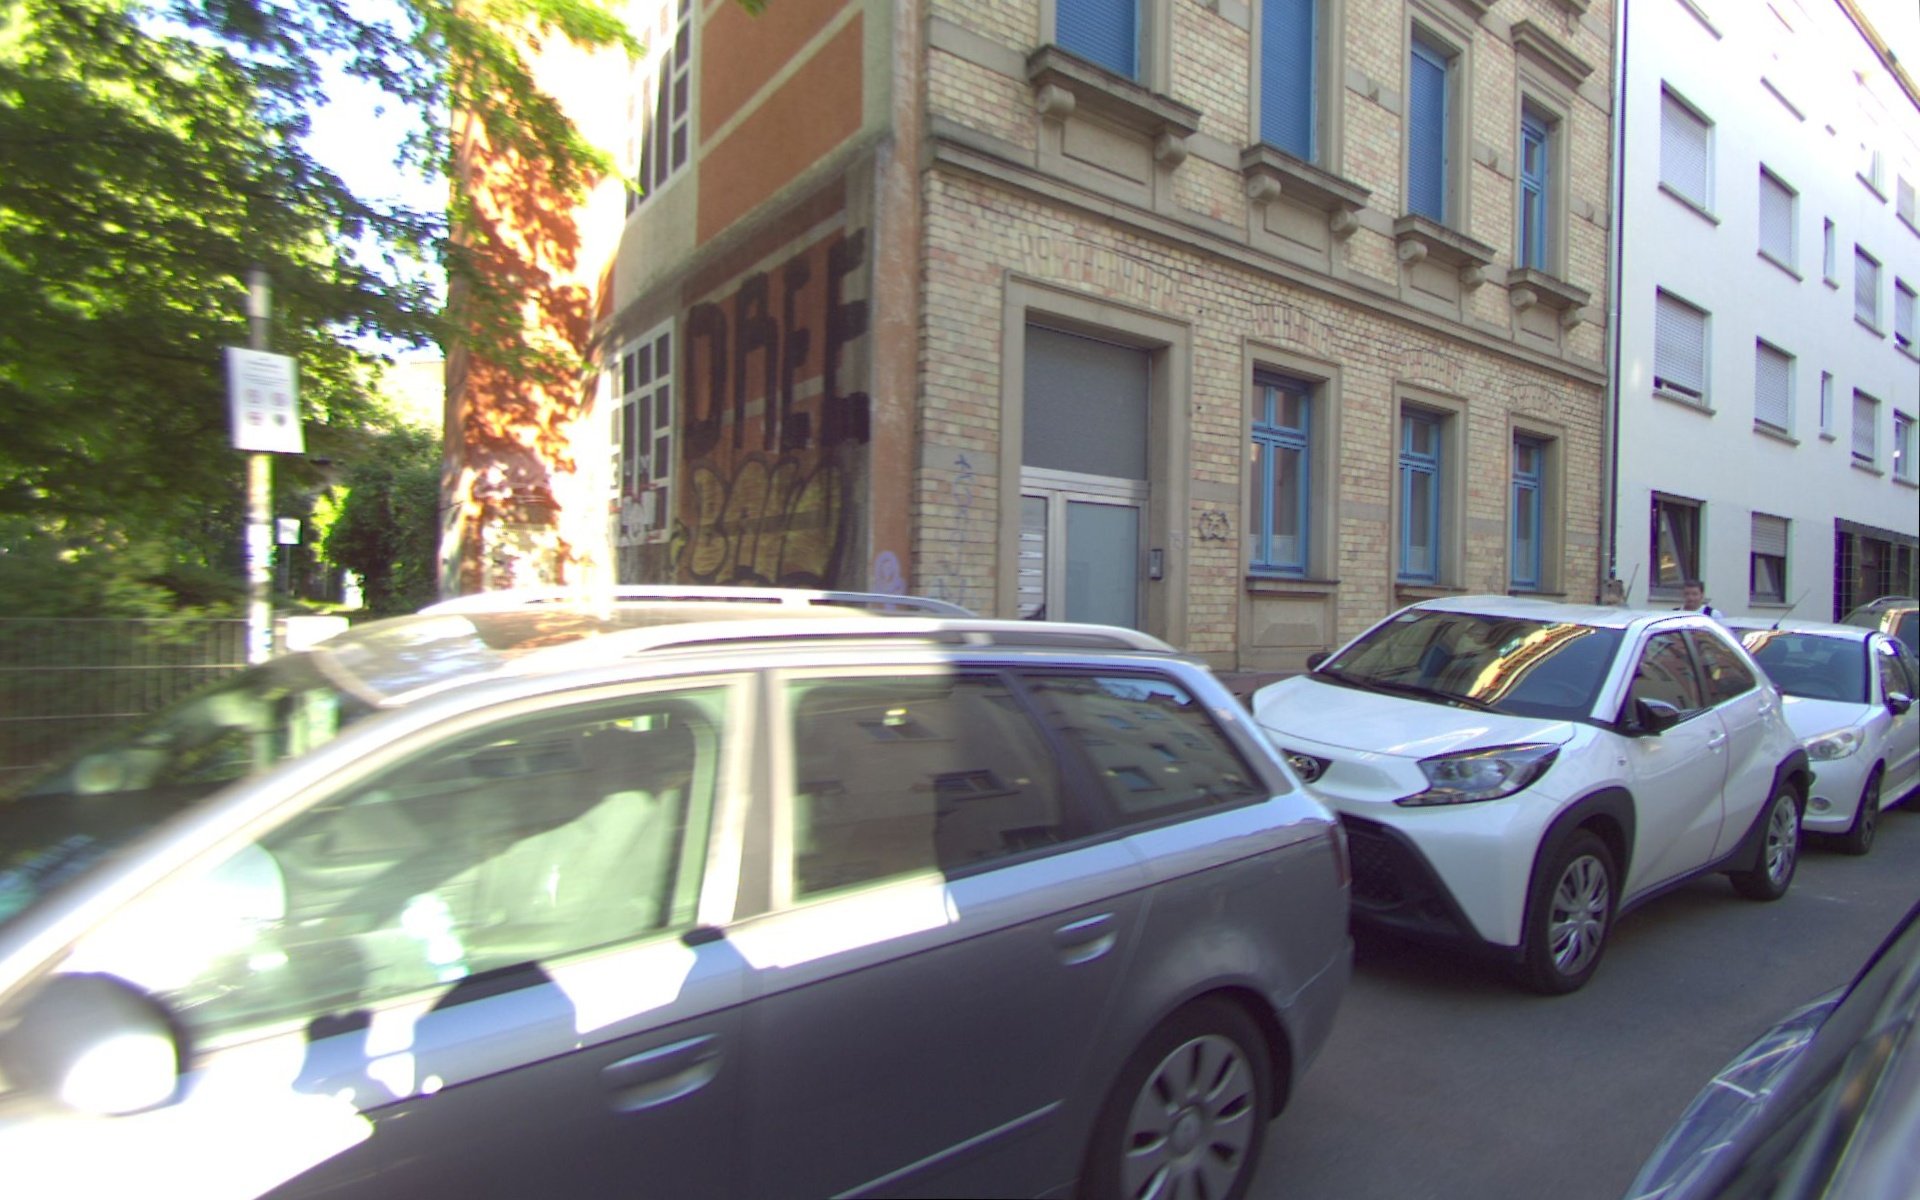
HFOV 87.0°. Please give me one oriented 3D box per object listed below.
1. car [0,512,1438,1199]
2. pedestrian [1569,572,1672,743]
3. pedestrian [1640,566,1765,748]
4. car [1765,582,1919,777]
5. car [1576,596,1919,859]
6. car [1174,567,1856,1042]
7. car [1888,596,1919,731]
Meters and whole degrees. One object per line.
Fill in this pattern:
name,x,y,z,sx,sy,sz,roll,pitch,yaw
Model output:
car,-0.945,0.653,2.156,4.270,1.512,1.664,1,0,-36
pedestrian,7.066,0.591,10.830,0.693,1.729,0.599,1,3,-36
pedestrian,7.537,0.552,10.281,0.738,1.729,0.713,1,3,-36
car,10.232,0.752,10.458,4.245,1.687,1.773,1,3,-35
car,6.412,0.768,7.773,3.930,1.468,1.598,1,2,-39
car,2.995,0.713,5.204,3.692,1.605,1.599,1,2,-36
car,14.302,0.881,13.530,4.246,1.687,1.888,1,3,-36
